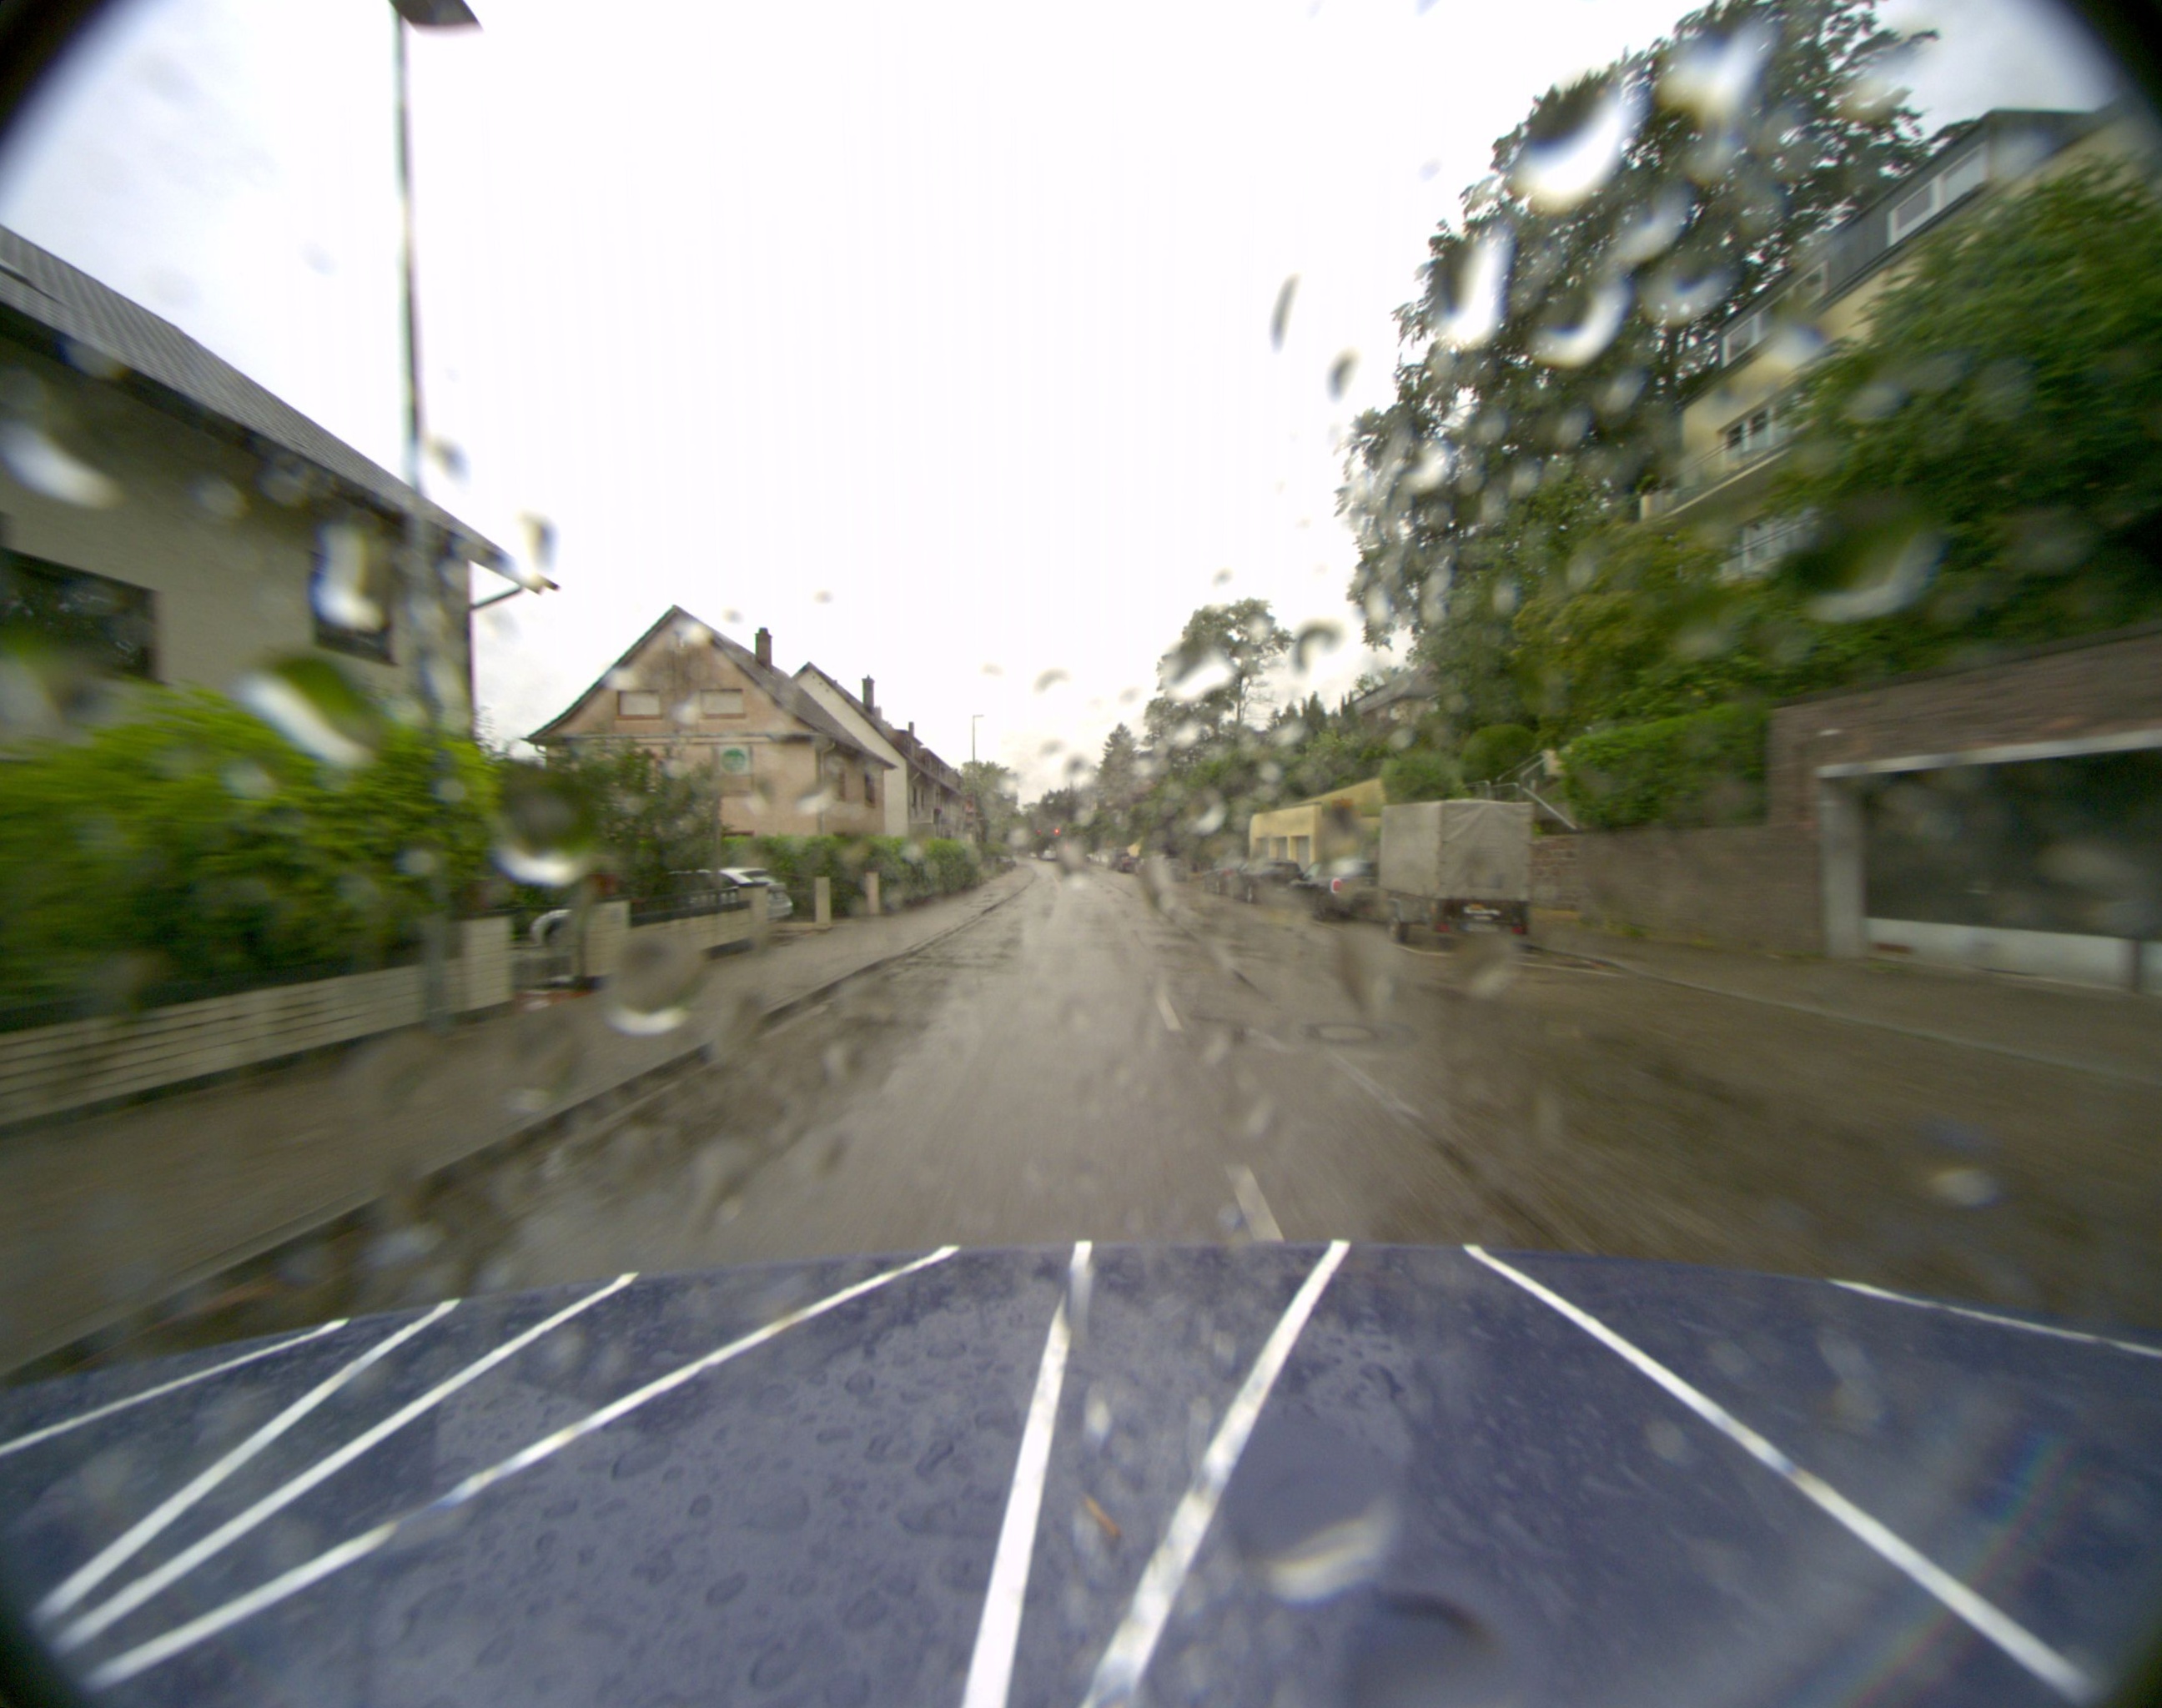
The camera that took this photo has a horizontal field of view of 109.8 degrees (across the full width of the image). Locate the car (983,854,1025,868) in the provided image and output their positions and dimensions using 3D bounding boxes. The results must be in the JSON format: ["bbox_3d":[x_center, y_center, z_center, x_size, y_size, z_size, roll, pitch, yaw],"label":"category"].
[{"bbox_3d":[-8.657,0.795,85.602,4.371,1.356,1.922,-1,2,29],"label":"car"}]

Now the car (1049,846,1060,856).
[{"bbox_3d":[-6.311,-0.704,179.837,2.086,2.464,4.849,1,0,-8],"label":"car"}]

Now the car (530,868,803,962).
[{"bbox_3d":[-7.807,1.110,14.602,4.232,1.437,1.702,-3,0,-1],"label":"car"}]

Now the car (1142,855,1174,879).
[{"bbox_3d":[5.447,0.909,53.923,1.746,1.552,4.108,1,0,-1],"label":"car"}]

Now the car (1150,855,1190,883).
[{"bbox_3d":[5.679,0.928,48.806,1.879,1.616,4.592,2,0,-2],"label":"car"}]

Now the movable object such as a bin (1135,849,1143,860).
[{"bbox_3d":[7.219,0.082,95.354,0.822,1.307,1.402,-2,0,-1],"label":"movable object such as a bin"}]

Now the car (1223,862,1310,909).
[{"bbox_3d":[6.029,0.979,25.127,1.790,1.407,4.217,0,0,-1],"label":"car"}]

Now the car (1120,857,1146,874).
[{"bbox_3d":[4.730,1.028,69.848,1.913,1.472,4.753,1,1,-2],"label":"car"}]

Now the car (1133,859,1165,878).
[{"bbox_3d":[5.209,1.097,58.787,1.721,1.357,4.082,1,0,-5],"label":"car"}]

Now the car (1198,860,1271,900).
[{"bbox_3d":[6.098,0.997,30.666,1.790,1.446,4.754,1,0,-2],"label":"car"}]

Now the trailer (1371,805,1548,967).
[{"bbox_3d":[6.223,0.473,12.867,1.540,2.385,3.073,1,0,3],"label":"trailer"}]

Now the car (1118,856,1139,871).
[{"bbox_3d":[4.669,0.951,74.921,1.569,1.357,3.905,0,1,-5],"label":"car"}]

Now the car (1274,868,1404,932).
[{"bbox_3d":[6.084,1.037,18.356,1.813,1.341,3.775,0,0,-1],"label":"car"}]

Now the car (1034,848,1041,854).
[{"bbox_3d":[-13.143,-0.946,230.769,1.926,1.747,3.997,-2,1,-7],"label":"car"}]

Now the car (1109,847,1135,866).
[{"bbox_3d":[4.265,0.238,80.164,2.164,1.908,5.321,0,1,-3],"label":"car"}]
